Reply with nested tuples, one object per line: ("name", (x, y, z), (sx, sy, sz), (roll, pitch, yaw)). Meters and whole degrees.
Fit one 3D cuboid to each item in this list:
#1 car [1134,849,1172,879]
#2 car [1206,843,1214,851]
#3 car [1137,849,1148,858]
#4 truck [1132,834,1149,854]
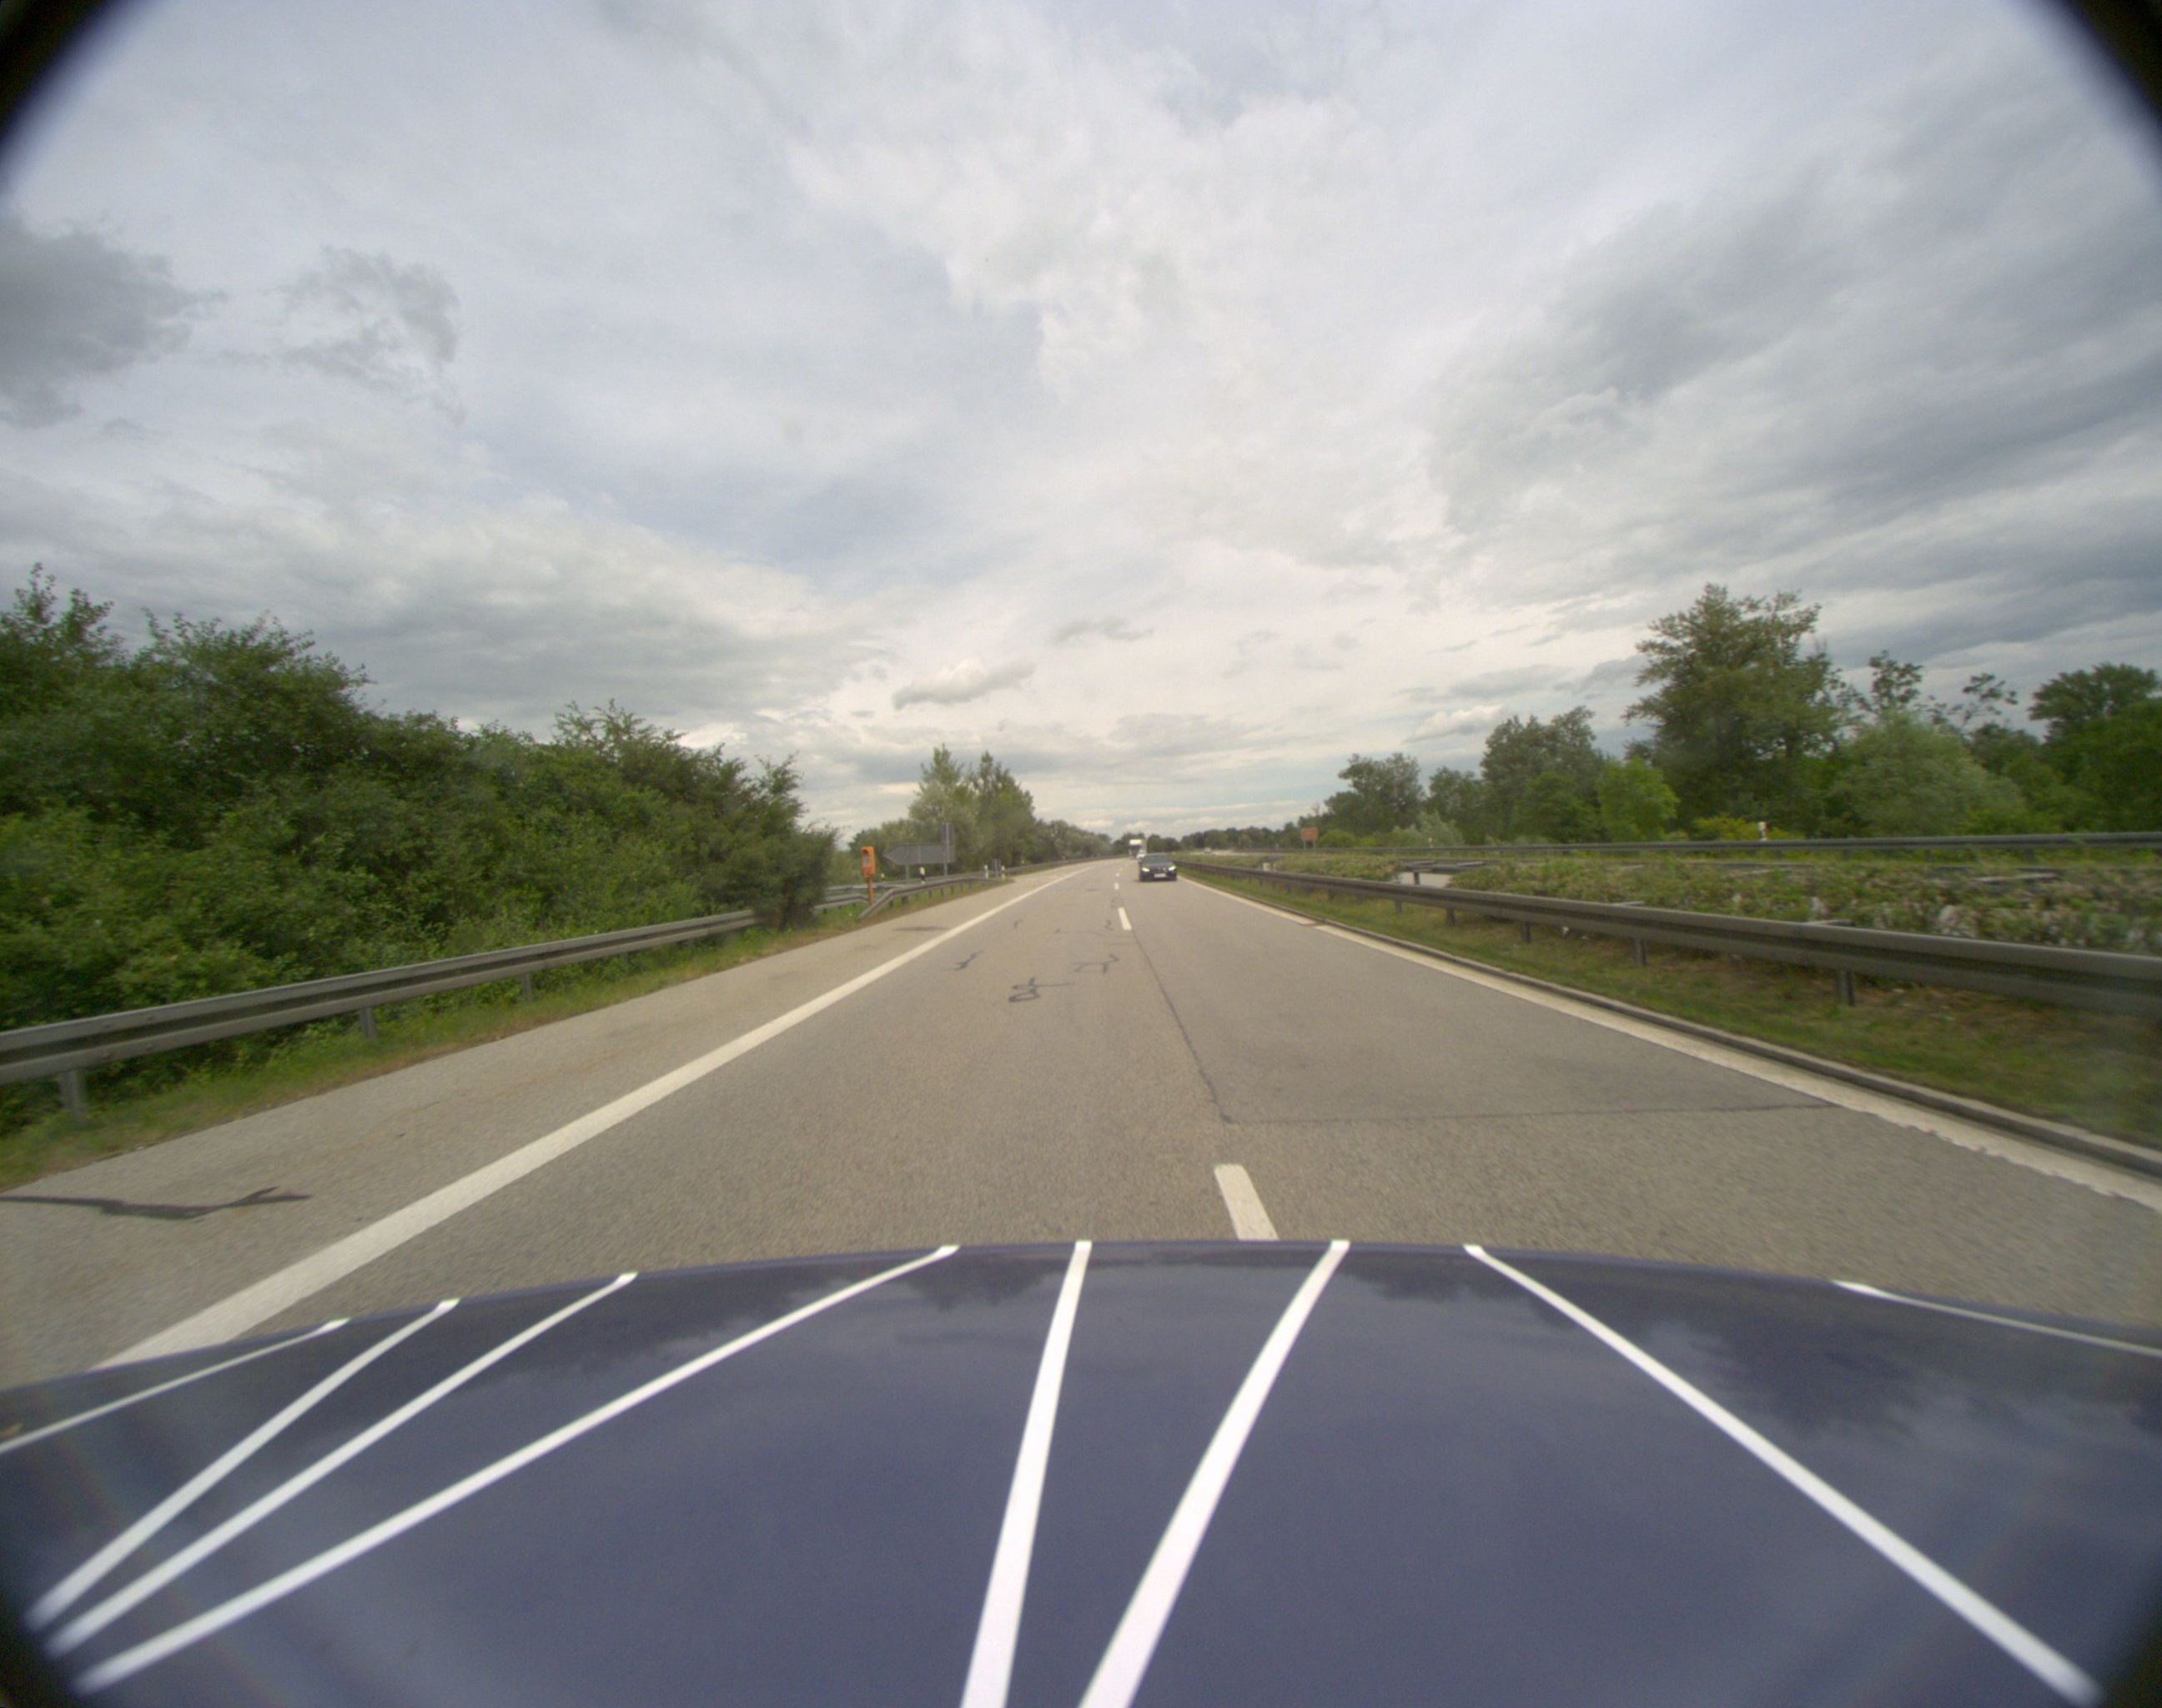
("car", (3.741, 0.501, 40.259), (1.774, 1.474, 4.698), (-2, 0, 3))
("car", (30.968, -1.649, 182.401), (1.646, 1.705, 4.983), (-4, 0, 9))
("car", (10.972, -0.043, 134.935), (1.774, 1.474, 4.658), (-2, -1, 7))
("truck", (12.462, -2.010, 159.349), (3.068, 3.868, 6.004), (-3, 0, 8))
